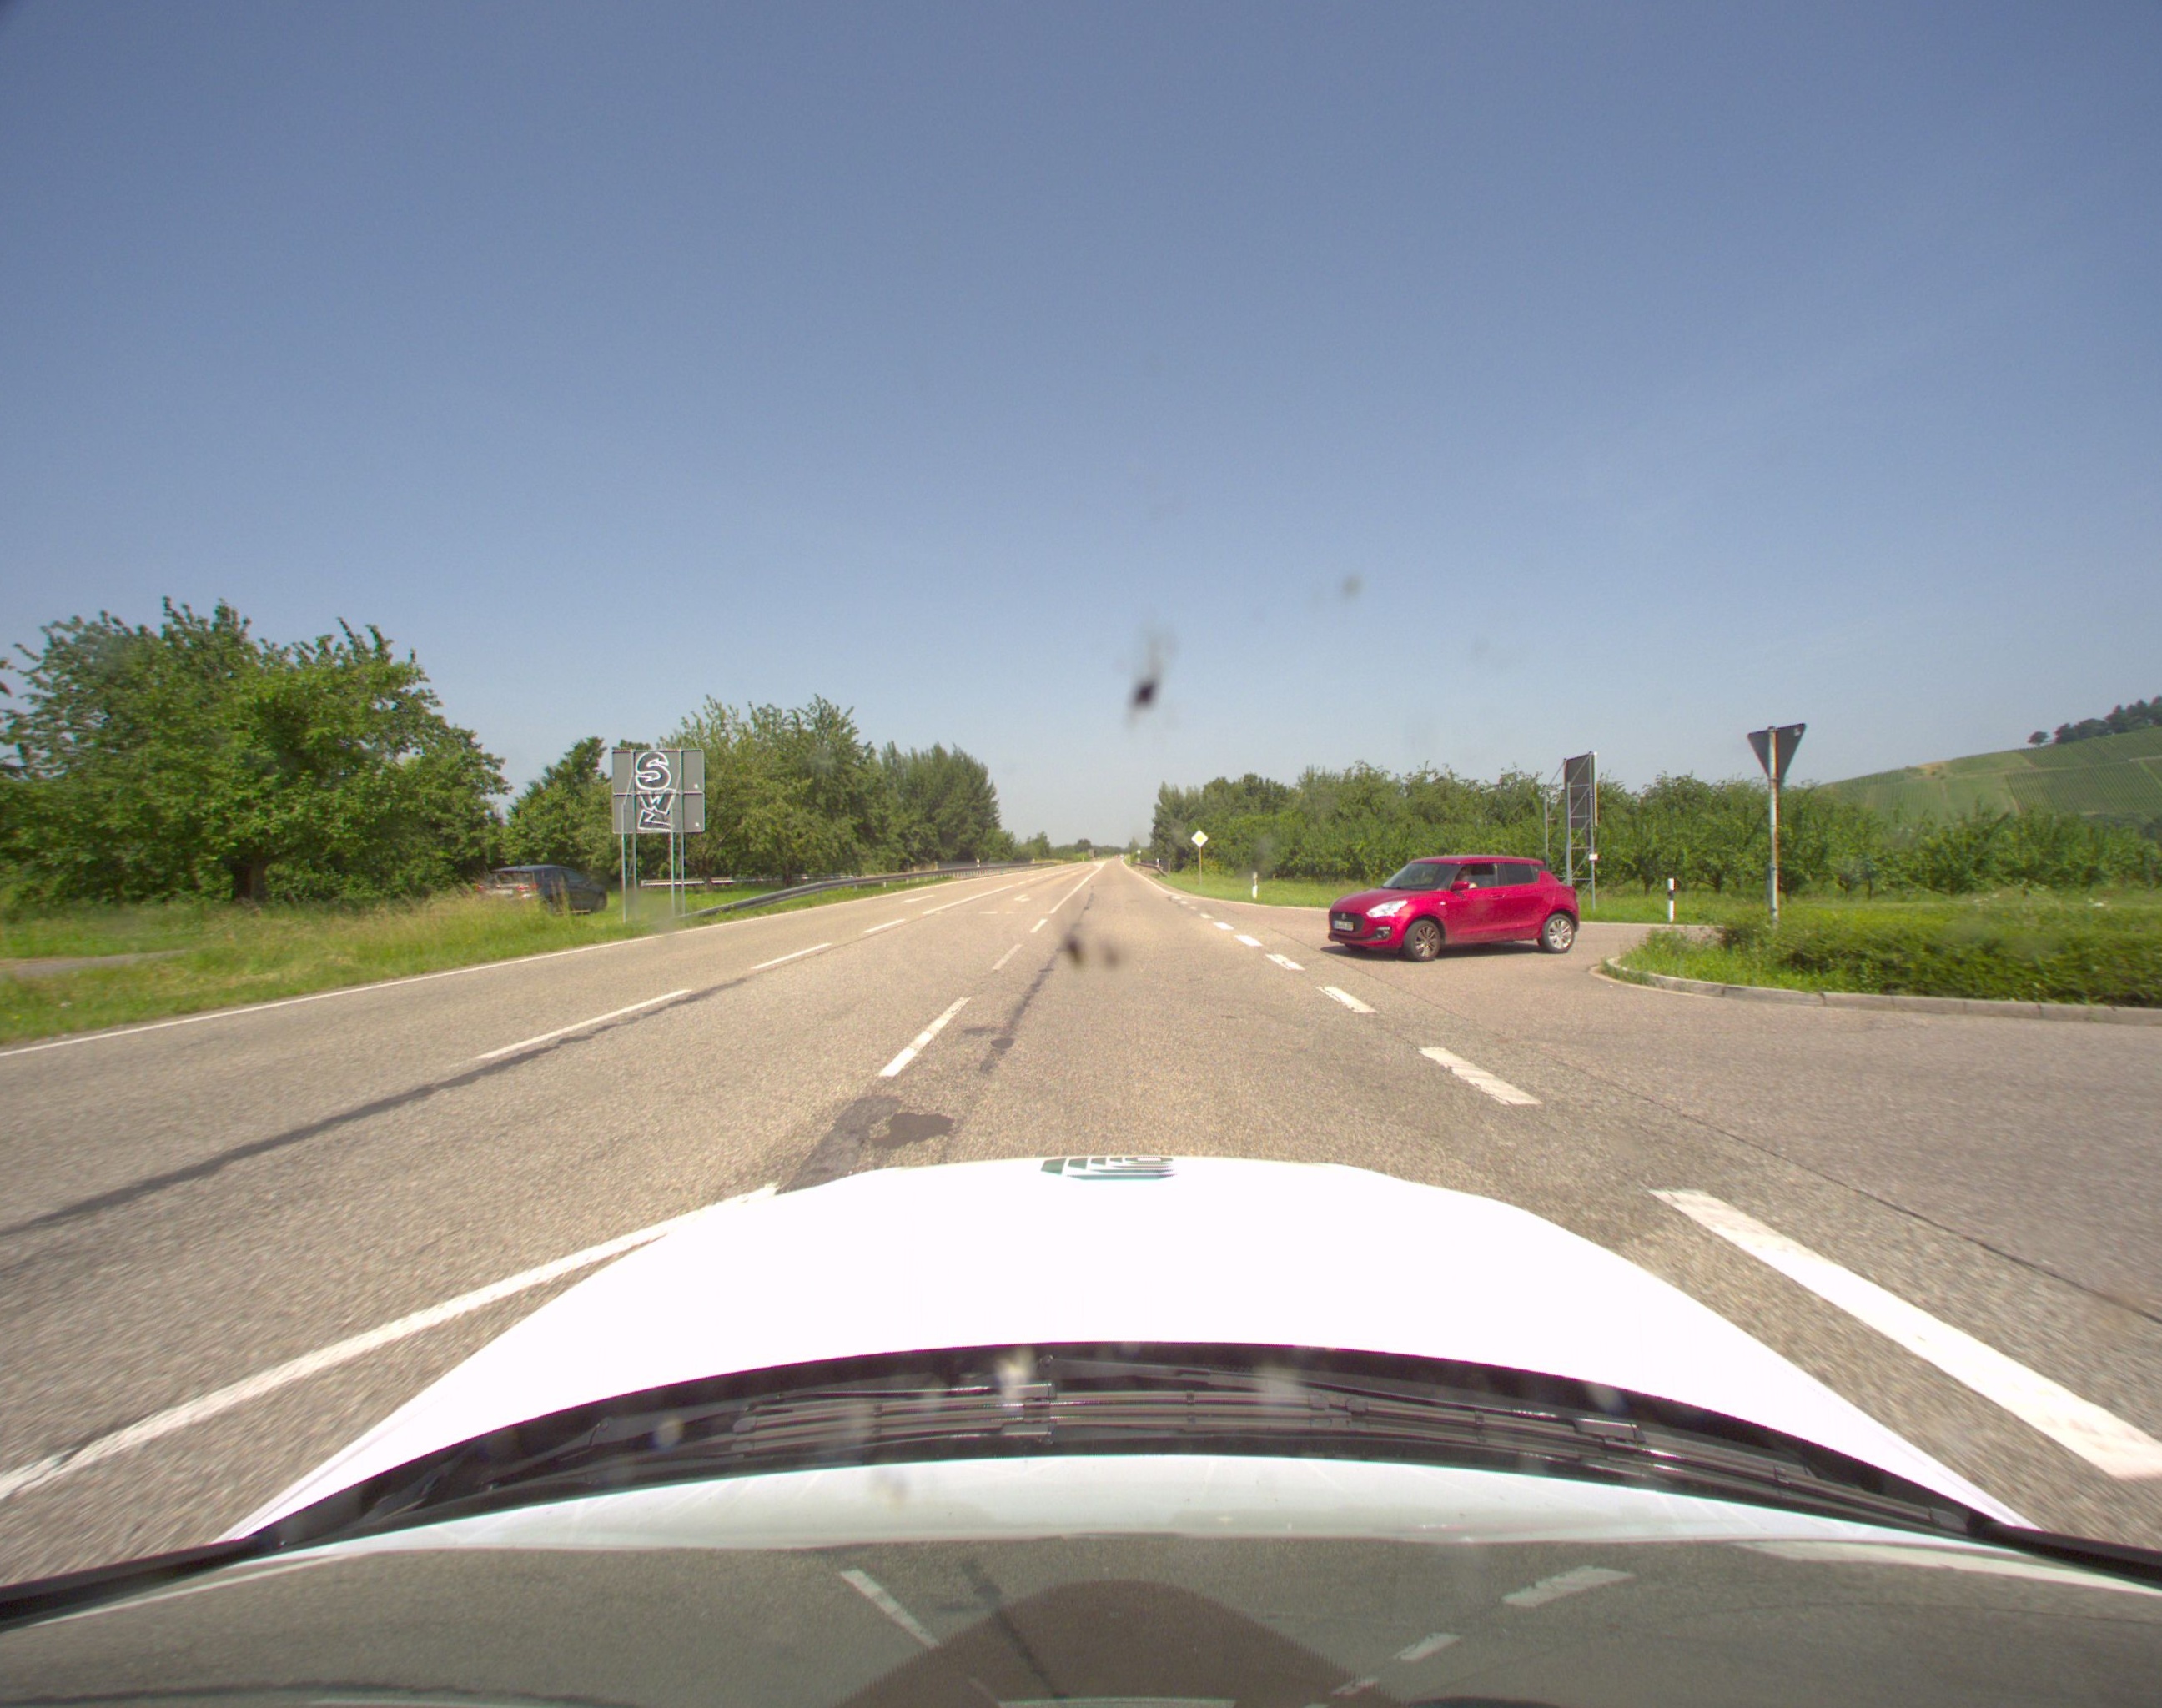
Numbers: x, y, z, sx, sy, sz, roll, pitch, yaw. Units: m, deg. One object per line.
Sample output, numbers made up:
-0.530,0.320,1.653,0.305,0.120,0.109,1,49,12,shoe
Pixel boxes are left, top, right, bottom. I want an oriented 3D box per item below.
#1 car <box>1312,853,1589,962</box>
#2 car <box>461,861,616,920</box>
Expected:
5.674,0.744,12.607,3.748,1.493,1.662,0,0,-17,car
-14.802,0.930,22.527,1.700,1.423,4.039,-1,0,-3,car
